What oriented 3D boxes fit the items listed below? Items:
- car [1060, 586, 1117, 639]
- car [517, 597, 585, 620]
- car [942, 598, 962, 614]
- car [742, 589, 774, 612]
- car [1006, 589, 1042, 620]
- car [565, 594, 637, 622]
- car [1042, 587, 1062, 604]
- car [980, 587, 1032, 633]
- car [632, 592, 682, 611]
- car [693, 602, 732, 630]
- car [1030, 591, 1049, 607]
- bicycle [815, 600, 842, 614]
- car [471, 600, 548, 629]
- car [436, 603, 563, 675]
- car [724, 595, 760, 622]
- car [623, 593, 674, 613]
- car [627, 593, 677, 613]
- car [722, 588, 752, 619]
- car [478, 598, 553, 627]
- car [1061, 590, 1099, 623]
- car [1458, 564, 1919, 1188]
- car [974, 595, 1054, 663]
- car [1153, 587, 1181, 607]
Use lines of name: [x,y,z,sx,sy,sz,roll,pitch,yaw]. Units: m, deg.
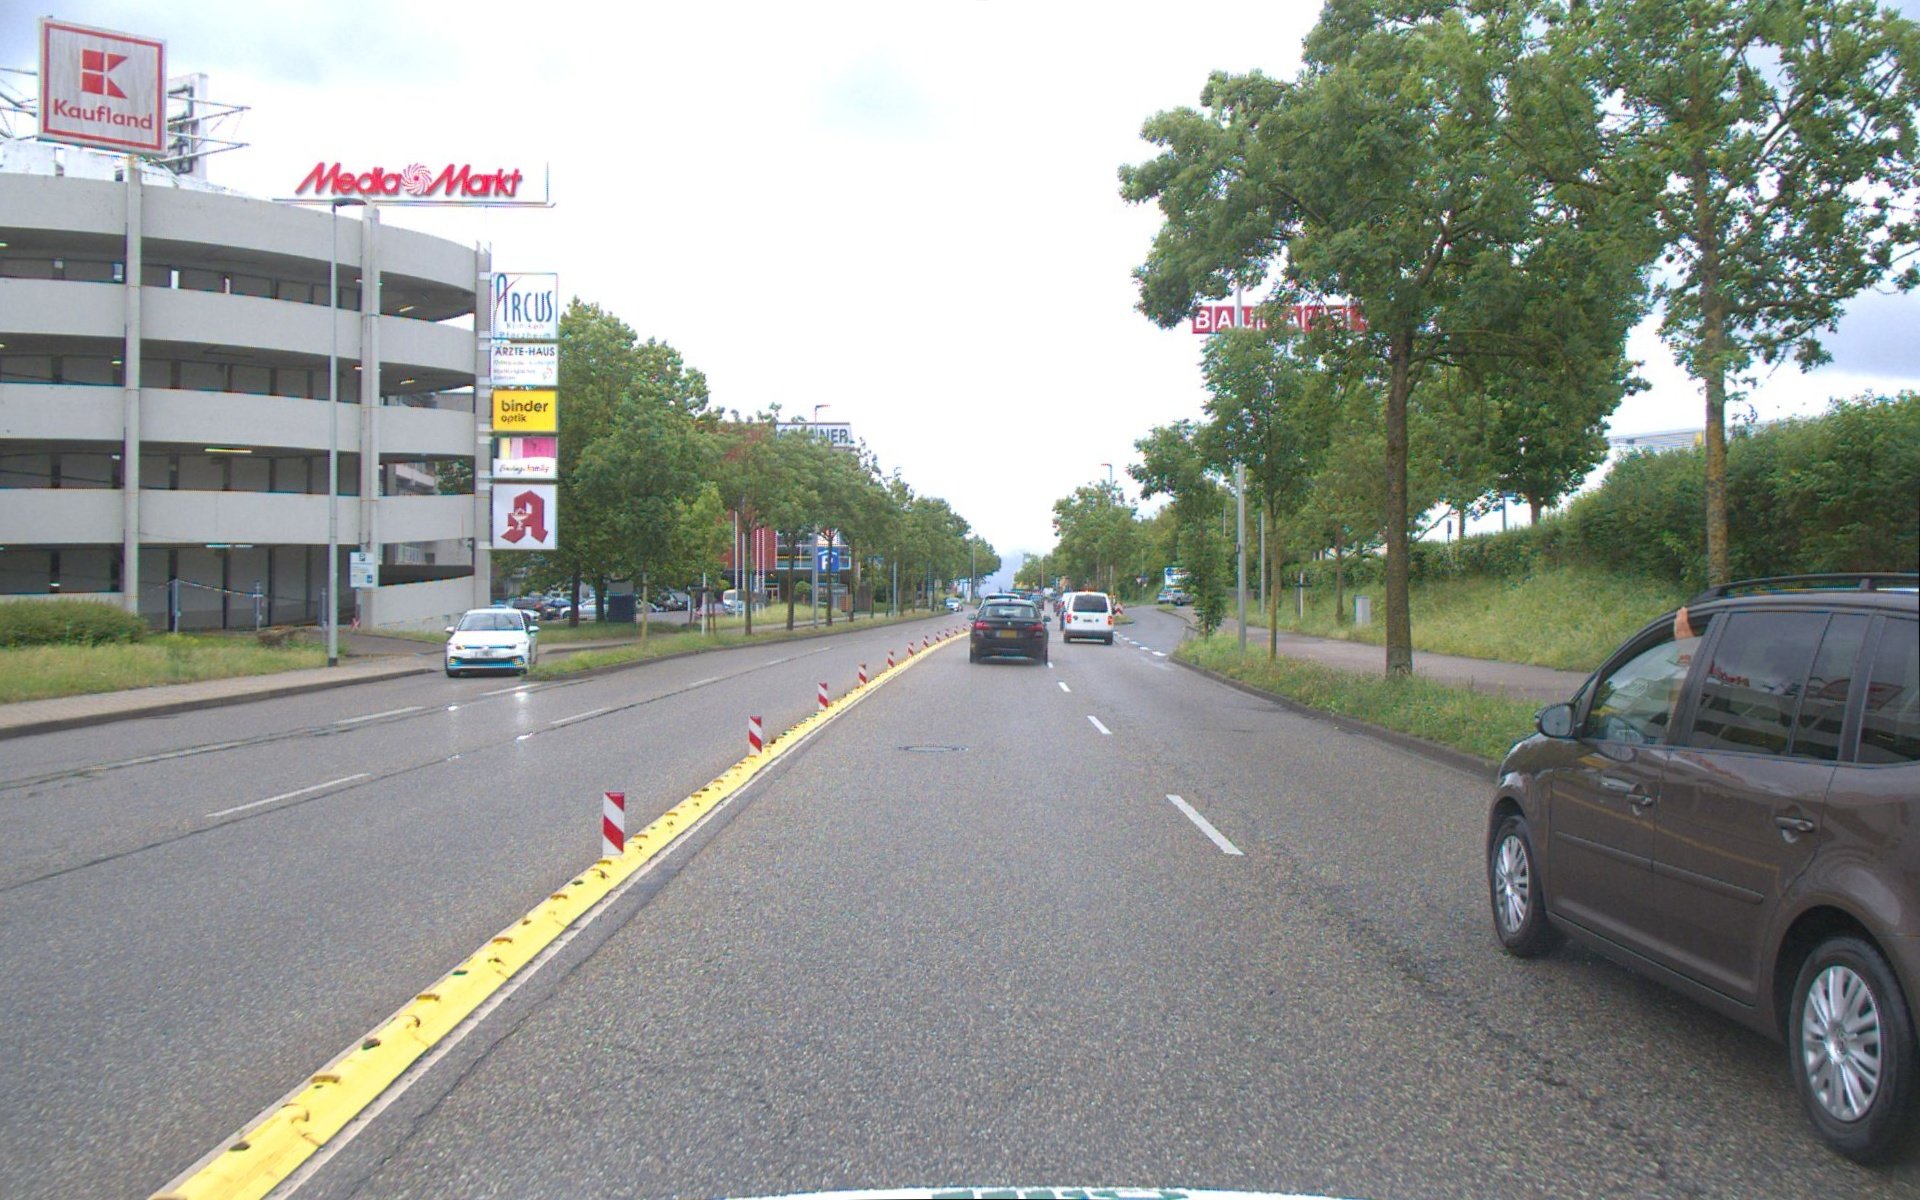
car: [4.579,0.432,59.382,1.789,1.789,4.001,2,0,2]
car: [-29.748,0.607,120.421,4.520,1.536,2.023,1,1,-5]
car: [-0.889,0.644,176.878,1.828,1.580,4.577,-2,0,3]
car: [-17.361,-0.005,142.033,2.094,1.804,4.609,1,1,1]
car: [3.381,0.255,87.770,1.757,1.537,4.000,2,-1,1]
car: [-24.245,0.545,111.734,4.509,1.776,1.965,1,1,-5]
car: [9.041,-0.412,162.906,1.757,1.537,4.001,2,-1,2]
car: [1.613,0.357,58.769,1.757,1.537,4.000,2,-1,1]
car: [-26.250,0.138,143.442,4.109,1.536,1.817,1,1,-5]
car: [-15.954,1.026,106.720,1.894,1.637,4.710,1,1,-2]
car: [8.479,-0.082,176.141,1.757,1.537,3.999,2,-1,0]
bicycle: [-11.145,0.585,139.855,2.033,0.951,1.094,4,0,7]
car: [-28.956,0.927,106.373,4.513,1.776,1.964,1,1,-9]
car: [-10.356,0.832,37.480,1.862,1.433,4.421,-2,1,-4]
car: [-15.936,0.606,121.159,1.997,1.792,4.946,1,1,0]
car: [-26.221,0.250,139.187,4.029,1.536,1.817,1,1,-5]
car: [-26.347,0.239,141.422,4.029,1.536,1.817,1,1,-5]
car: [-17.093,0.249,126.894,2.073,2.132,5.116,1,1,-6]
car: [-29.374,0.792,109.375,4.513,1.776,2.130,1,1,-9]
car: [5.830,0.316,80.856,1.757,1.537,4.001,2,-1,3]
car: [3.288,0.730,5.902,1.651,1.609,4.217,2,0,-1]
car: [1.270,0.645,39.314,1.789,1.494,4.001,1,0,1]
car: [17.668,-0.234,140.877,1.756,1.537,4.002,2,-1,16]
